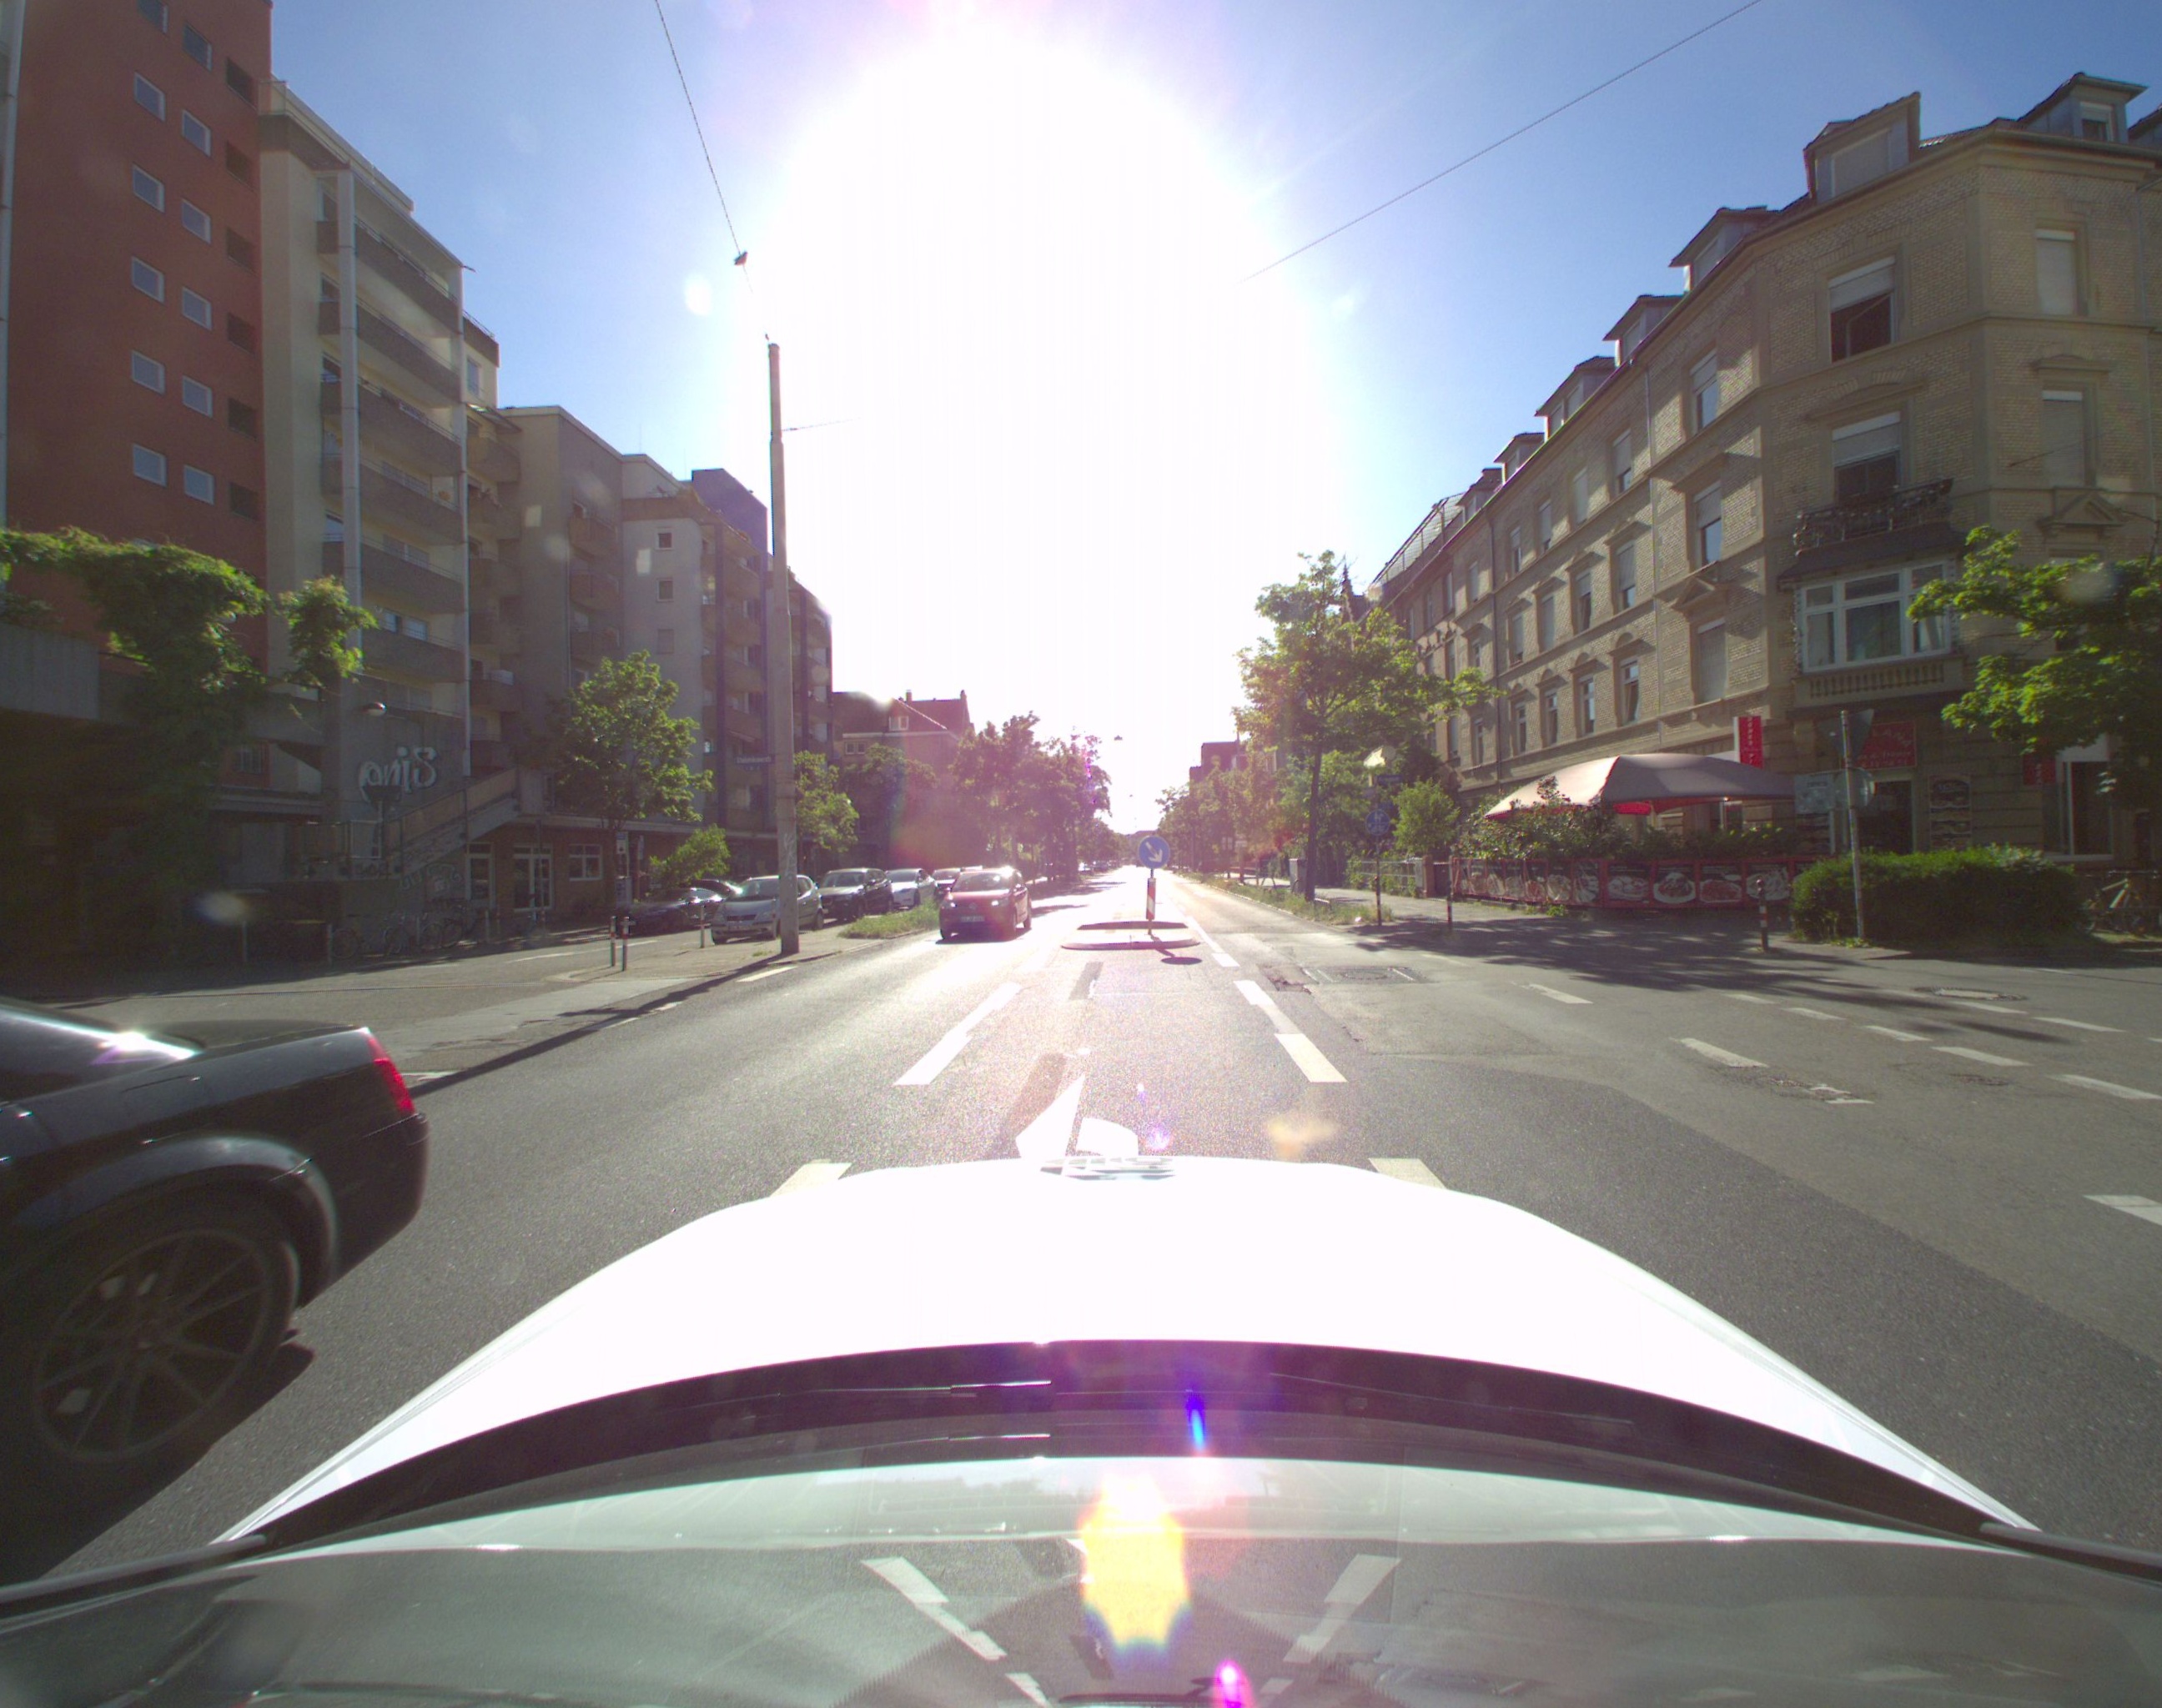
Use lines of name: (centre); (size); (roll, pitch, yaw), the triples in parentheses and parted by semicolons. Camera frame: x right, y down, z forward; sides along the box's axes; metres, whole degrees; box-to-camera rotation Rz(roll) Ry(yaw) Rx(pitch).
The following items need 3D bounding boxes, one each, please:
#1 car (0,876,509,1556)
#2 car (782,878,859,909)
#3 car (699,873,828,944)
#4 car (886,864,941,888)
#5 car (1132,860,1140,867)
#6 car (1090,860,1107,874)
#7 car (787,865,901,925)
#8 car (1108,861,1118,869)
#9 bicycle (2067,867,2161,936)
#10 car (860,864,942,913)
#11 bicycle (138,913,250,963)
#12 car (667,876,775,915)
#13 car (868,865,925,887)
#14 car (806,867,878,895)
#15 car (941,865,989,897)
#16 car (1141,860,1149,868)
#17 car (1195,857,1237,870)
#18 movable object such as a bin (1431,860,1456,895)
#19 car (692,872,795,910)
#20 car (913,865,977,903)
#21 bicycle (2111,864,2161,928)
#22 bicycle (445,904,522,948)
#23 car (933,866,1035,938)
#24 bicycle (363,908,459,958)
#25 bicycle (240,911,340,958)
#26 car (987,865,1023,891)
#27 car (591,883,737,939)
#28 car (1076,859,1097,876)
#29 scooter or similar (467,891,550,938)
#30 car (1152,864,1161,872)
car: (-3.390, 0.836, 0.972); (1.857, 1.458, 4.599); (-2, -1, 5)
car: (-15.520, 2.349, 48.693); (3.974, 1.629, 1.687); (-2, -1, 0)
car: (-7.860, 1.292, 20.522); (1.713, 1.518, 3.533); (-3, -1, 1)
car: (-13.413, 1.714, 65.331); (3.973, 1.769, 1.886); (-2, -1, 0)
car: (14.412, 2.488, 213.506); (1.750, 1.784, 4.005); (-2, -1, 5)
car: (2.739, 1.962, 126.589); (2.051, 2.014, 4.636); (-2, -1, 6)
car: (-7.290, 1.203, 25.574); (1.859, 1.628, 4.510); (-3, -1, 5)
car: (6.942, 2.437, 176.075); (1.983, 1.695, 4.007); (-2, -1, 6)
bicycle: (15.828, 0.710, 12.391); (1.308, 0.974, 0.392); (-2, -1, -7)
car: (-6.964, 1.295, 32.005); (1.880, 1.662, 4.535); (-4, -1, 4)
bicycle: (-19.475, 1.844, 17.907); (1.793, 1.001, 0.484); (-1, 0, -5)
car: (-16.062, 1.848, 36.478); (3.974, 1.551, 1.770); (-2, -1, 0)
car: (-14.272, 1.701, 63.253); (3.974, 1.629, 1.687); (-2, -1, 0)
car: (-14.984, 1.683, 51.205); (3.974, 1.629, 1.687); (-2, -1, 0)
car: (-6.221, 1.422, 44.053); (1.744, 1.553, 4.004); (-2, -1, 4)
car: (15.367, 2.331, 195.633); (1.750, 1.784, 4.005); (-2, -1, 5)
car: (14.224, 0.994, 85.879); (3.991, 1.223, 1.795); (-1, -1, -13)
movable object such as a bin: (11.930, 0.772, 26.819); (0.566, 1.133, 0.552); (-2, -1, 4)
car: (-15.800, 1.706, 38.249); (3.974, 1.607, 1.841); (-2, -1, 0)
car: (-6.329, 1.361, 38.375); (1.853, 1.587, 4.007); (-3, -1, 6)
bicycle: (17.372, 0.651, 13.070); (1.308, 0.974, 0.392); (-2, -1, -7)
bicycle: (-16.007, 1.912, 21.873); (0.411, 1.001, 1.809); (1, 0, 14)
car: (-2.125, 1.022, 18.710); (1.644, 1.428, 3.510); (-2, -1, 4)
bicycle: (-16.267, 1.887, 19.831); (0.410, 1.031, 1.811); (1, 0, 20)
bicycle: (-18.156, 1.842, 18.729); (1.617, 1.001, 0.413); (0, 0, -19)
car: (-5.095, 1.600, 55.054); (1.755, 1.646, 4.004); (-2, -1, 4)
car: (-13.031, 1.737, 25.810); (1.881, 1.398, 4.537); (-2, -1, 6)
car: (0.716, 1.649, 99.516); (1.983, 2.014, 4.213); (-2, -1, 6)
scooter or similar: (-17.035, 1.792, 24.262); (1.961, 1.277, 0.630); (-2, 0, -1)
car: (16.894, 3.061, 183.206); (1.942, 1.708, 4.005); (-2, -1, 5)
